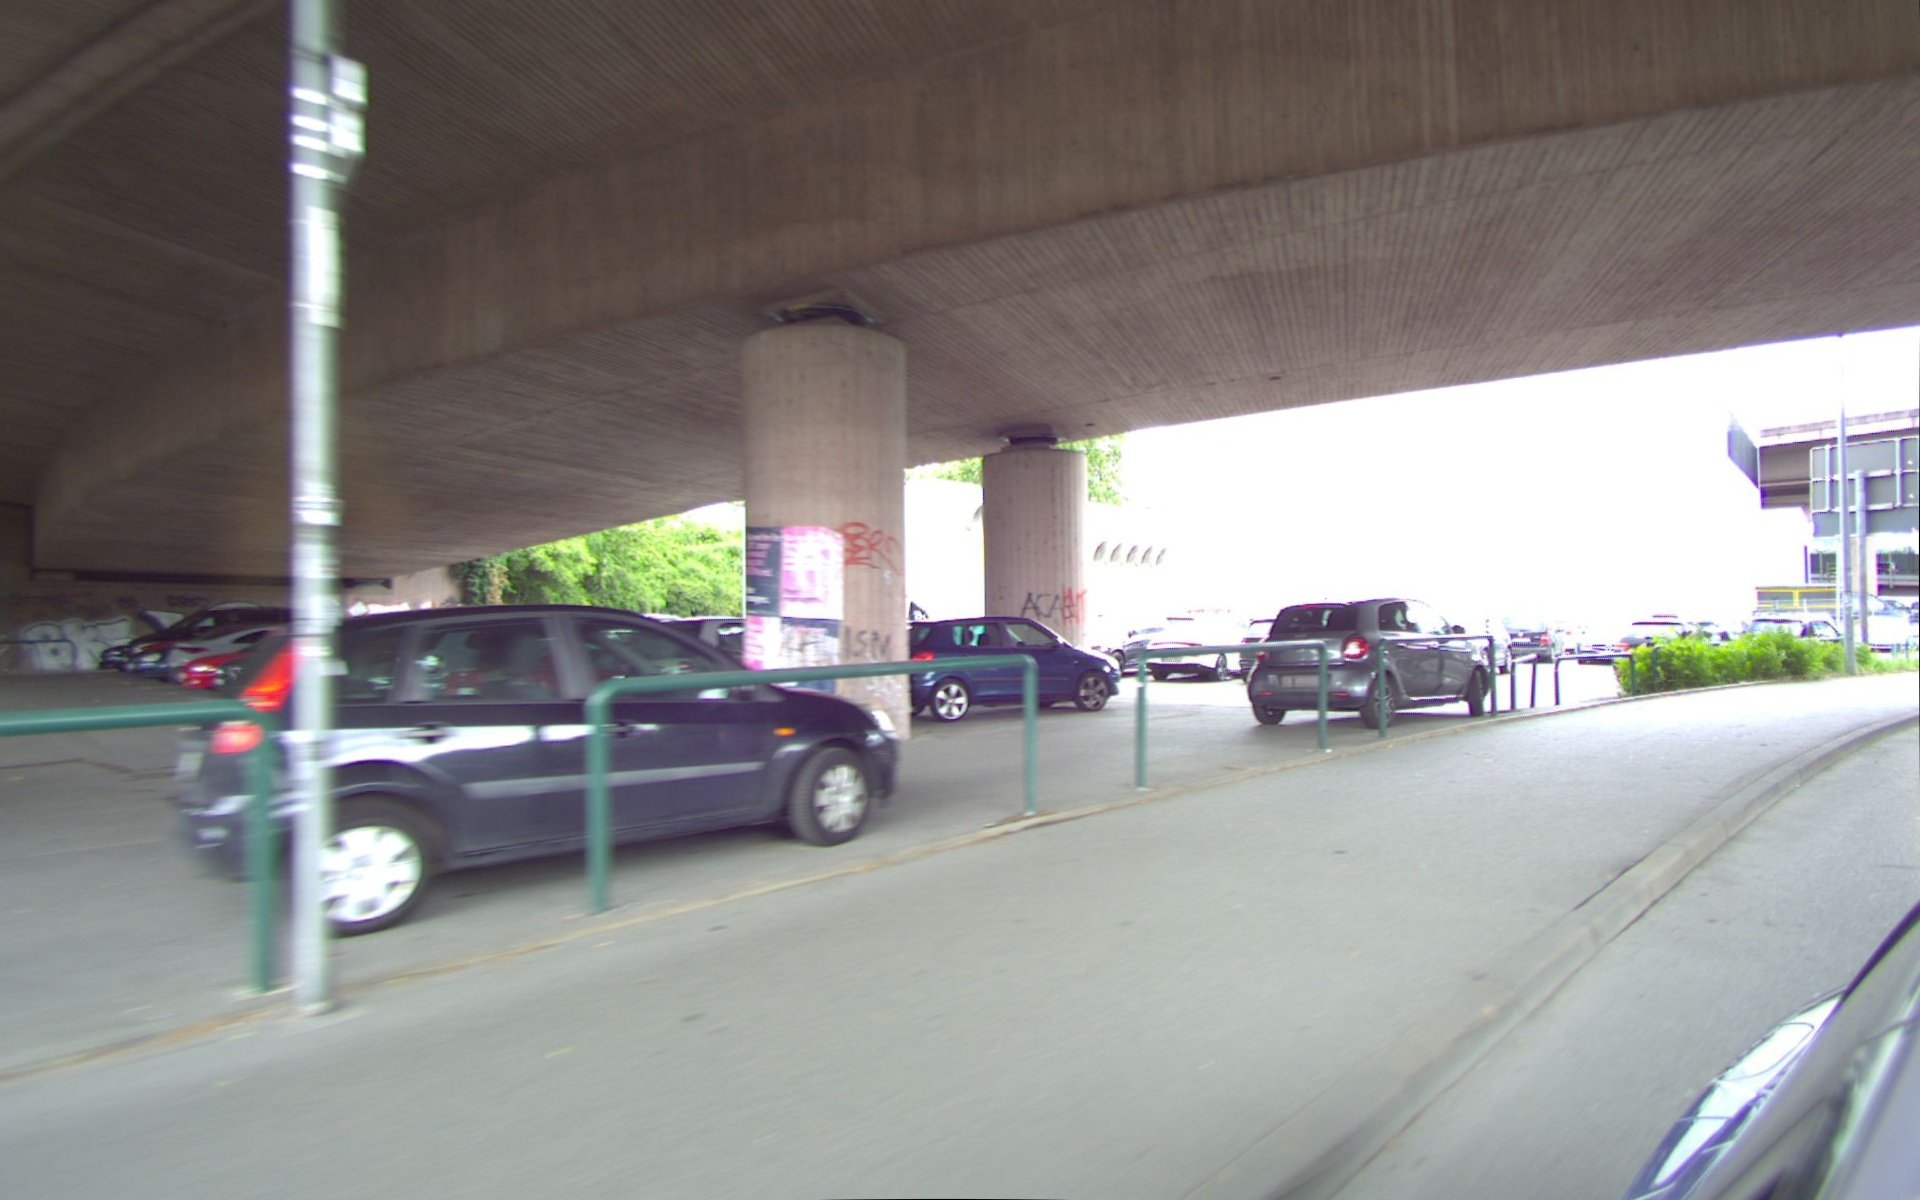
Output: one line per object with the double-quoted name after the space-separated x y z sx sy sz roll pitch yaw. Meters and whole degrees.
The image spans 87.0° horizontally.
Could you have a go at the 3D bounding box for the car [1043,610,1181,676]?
4.166 1.093 27.302 1.829 1.613 4.131 -1 -1 40 "car"

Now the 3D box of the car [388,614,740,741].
-5.484 0.987 14.403 1.832 1.489 4.310 -3 -2 44 "car"

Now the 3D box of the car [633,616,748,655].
-10.597 1.360 40.010 1.829 1.427 4.131 -1 -1 40 "car"

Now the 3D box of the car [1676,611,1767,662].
24.165 1.105 32.060 1.851 1.494 4.614 -1 -1 43 "car"

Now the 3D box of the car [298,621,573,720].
-8.884 1.108 17.358 1.829 1.445 3.806 -1 -1 40 "car"

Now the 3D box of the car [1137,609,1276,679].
6.382 1.053 25.902 1.829 1.613 4.131 -1 -1 40 "car"

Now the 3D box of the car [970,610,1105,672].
2.284 1.123 29.025 1.829 1.613 4.131 -1 -1 40 "car"

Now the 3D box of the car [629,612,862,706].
-3.985 1.025 19.329 1.829 1.570 4.131 -1 -1 40 "car"

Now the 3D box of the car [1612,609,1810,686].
16.374 0.975 22.055 4.162 1.498 1.738 0 -1 -26 "car"

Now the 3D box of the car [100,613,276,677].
-21.257 1.193 27.957 1.671 1.619 3.610 -1 -1 40 "car"

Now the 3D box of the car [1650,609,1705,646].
32.542 1.220 45.884 1.618 1.564 3.049 -1 -1 43 "car"

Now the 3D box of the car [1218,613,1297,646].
14.058 1.350 47.744 1.832 1.443 4.373 -1 -1 43 "car"

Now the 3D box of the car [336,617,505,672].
-16.169 1.280 30.487 1.829 1.484 4.131 -1 -1 40 "car"

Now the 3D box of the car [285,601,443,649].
-19.526 0.779 33.295 1.829 1.484 4.131 -1 -1 40 "car"

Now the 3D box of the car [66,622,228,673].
-24.796 1.415 30.954 1.671 1.407 3.610 -1 -1 40 "car"

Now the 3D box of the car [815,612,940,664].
-2.701 1.226 33.859 1.829 1.613 4.131 -1 -1 40 "car"

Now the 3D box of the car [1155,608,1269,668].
7.988 1.135 31.797 1.748 1.713 4.368 -1 -1 40 "car"

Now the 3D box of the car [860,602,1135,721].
0.577 0.870 15.516 3.780 1.526 1.793 -2 -1 -27 "car"

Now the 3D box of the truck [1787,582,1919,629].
58.630 0.386 66.057 3.000 2.970 6.912 1 -1 -44 "truck"

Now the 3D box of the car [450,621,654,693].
-9.525 1.261 23.868 1.829 1.484 4.131 -1 -1 40 "car"

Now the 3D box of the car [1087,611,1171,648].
7.698 1.304 45.887 1.761 1.552 4.423 -1 -1 40 "car"

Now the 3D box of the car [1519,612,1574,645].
28.205 1.322 48.624 1.765 1.475 4.302 -1 0 37 "car"

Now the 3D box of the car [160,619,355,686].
-17.024 1.218 24.645 1.671 1.445 3.610 -1 -1 40 "car"

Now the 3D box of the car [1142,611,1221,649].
9.776 1.281 44.439 1.761 1.552 3.917 -1 -1 40 "car"

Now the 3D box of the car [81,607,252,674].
-22.994 1.119 29.418 1.875 1.811 3.610 -1 -1 40 "car"

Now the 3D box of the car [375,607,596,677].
-12.702 1.044 27.397 2.081 1.699 5.032 -1 -1 40 "car"

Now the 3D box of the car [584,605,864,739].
-2.998 0.868 13.296 1.523 1.519 3.326 -4 -3 40 "car"

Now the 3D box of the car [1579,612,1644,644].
30.425 1.258 47.213 1.769 1.401 4.292 -1 0 43 "car"

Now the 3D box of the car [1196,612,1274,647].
11.842 1.234 43.459 1.761 1.410 3.917 -1 -1 40 "car"

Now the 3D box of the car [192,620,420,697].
-14.085 1.190 21.941 1.829 1.445 3.806 -1 -1 40 "car"

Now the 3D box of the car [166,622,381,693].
-15.738 1.258 23.346 1.671 1.445 3.806 -1 -1 40 "car"

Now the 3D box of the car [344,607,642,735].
-7.126 0.982 15.717 1.829 1.720 3.806 -1 -1 40 "car"

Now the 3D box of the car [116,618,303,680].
-19.313 1.218 26.156 1.671 1.445 3.610 -1 -1 40 "car"

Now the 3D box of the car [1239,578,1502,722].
5.183 0.577 12.647 3.349 1.553 1.609 0 -3 -40 "car"

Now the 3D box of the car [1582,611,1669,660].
22.108 1.129 33.557 1.850 1.494 4.618 -1 -1 40 "car"

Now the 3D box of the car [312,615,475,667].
-17.782 1.227 31.904 1.829 1.484 4.131 -1 -1 40 "car"

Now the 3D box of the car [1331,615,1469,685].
10.210 1.076 23.315 1.829 1.439 4.131 -1 -1 40 "car"

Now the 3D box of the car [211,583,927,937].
-2.078 0.674 5.823 3.516 1.415 1.609 0 -3 -40 "car"

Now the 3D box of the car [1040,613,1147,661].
4.681 1.225 35.010 1.701 1.528 4.199 -1 -1 40 "car"

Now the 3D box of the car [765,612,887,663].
-4.614 1.258 35.300 1.829 1.613 4.131 -1 -1 40 "car"

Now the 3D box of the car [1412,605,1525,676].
13.554 1.005 26.852 1.737 1.696 4.405 -1 -1 40 "car"

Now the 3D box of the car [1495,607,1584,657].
20.209 1.063 35.209 1.850 1.648 4.552 -1 -1 40 "car"

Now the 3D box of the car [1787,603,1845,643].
36.264 0.942 42.833 1.768 1.608 4.295 -1 -1 42 "car"

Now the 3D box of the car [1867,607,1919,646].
38.307 1.052 41.193 4.480 1.475 1.771 0 -1 -45 "car"

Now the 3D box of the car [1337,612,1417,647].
18.215 1.261 44.091 1.832 1.443 4.373 -1 -1 43 "car"

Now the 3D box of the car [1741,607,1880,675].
20.127 0.929 23.961 2.704 1.498 1.546 0 -1 -26 "car"

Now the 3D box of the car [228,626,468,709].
-12.294 1.276 20.508 1.829 1.445 3.806 -1 -1 40 "car"

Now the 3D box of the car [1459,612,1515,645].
26.182 1.378 50.206 1.765 1.475 4.302 -1 0 37 "car"

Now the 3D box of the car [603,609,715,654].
-12.263 1.237 41.428 1.829 1.710 4.131 -1 -1 40 "car"

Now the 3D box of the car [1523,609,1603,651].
23.650 1.128 39.626 1.832 1.533 4.431 -1 -1 43 "car"

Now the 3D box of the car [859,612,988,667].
-1.106 1.201 32.312 1.829 1.613 4.131 -1 -1 40 "car"

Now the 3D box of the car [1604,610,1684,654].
25.506 1.153 37.682 1.832 1.533 4.431 -1 -1 43 "car"

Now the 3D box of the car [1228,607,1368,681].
8.222 0.985 24.382 1.829 1.613 4.131 -1 -1 40 "car"

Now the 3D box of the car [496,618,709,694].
-7.831 1.158 22.439 1.829 1.484 4.131 -1 -1 40 "car"
